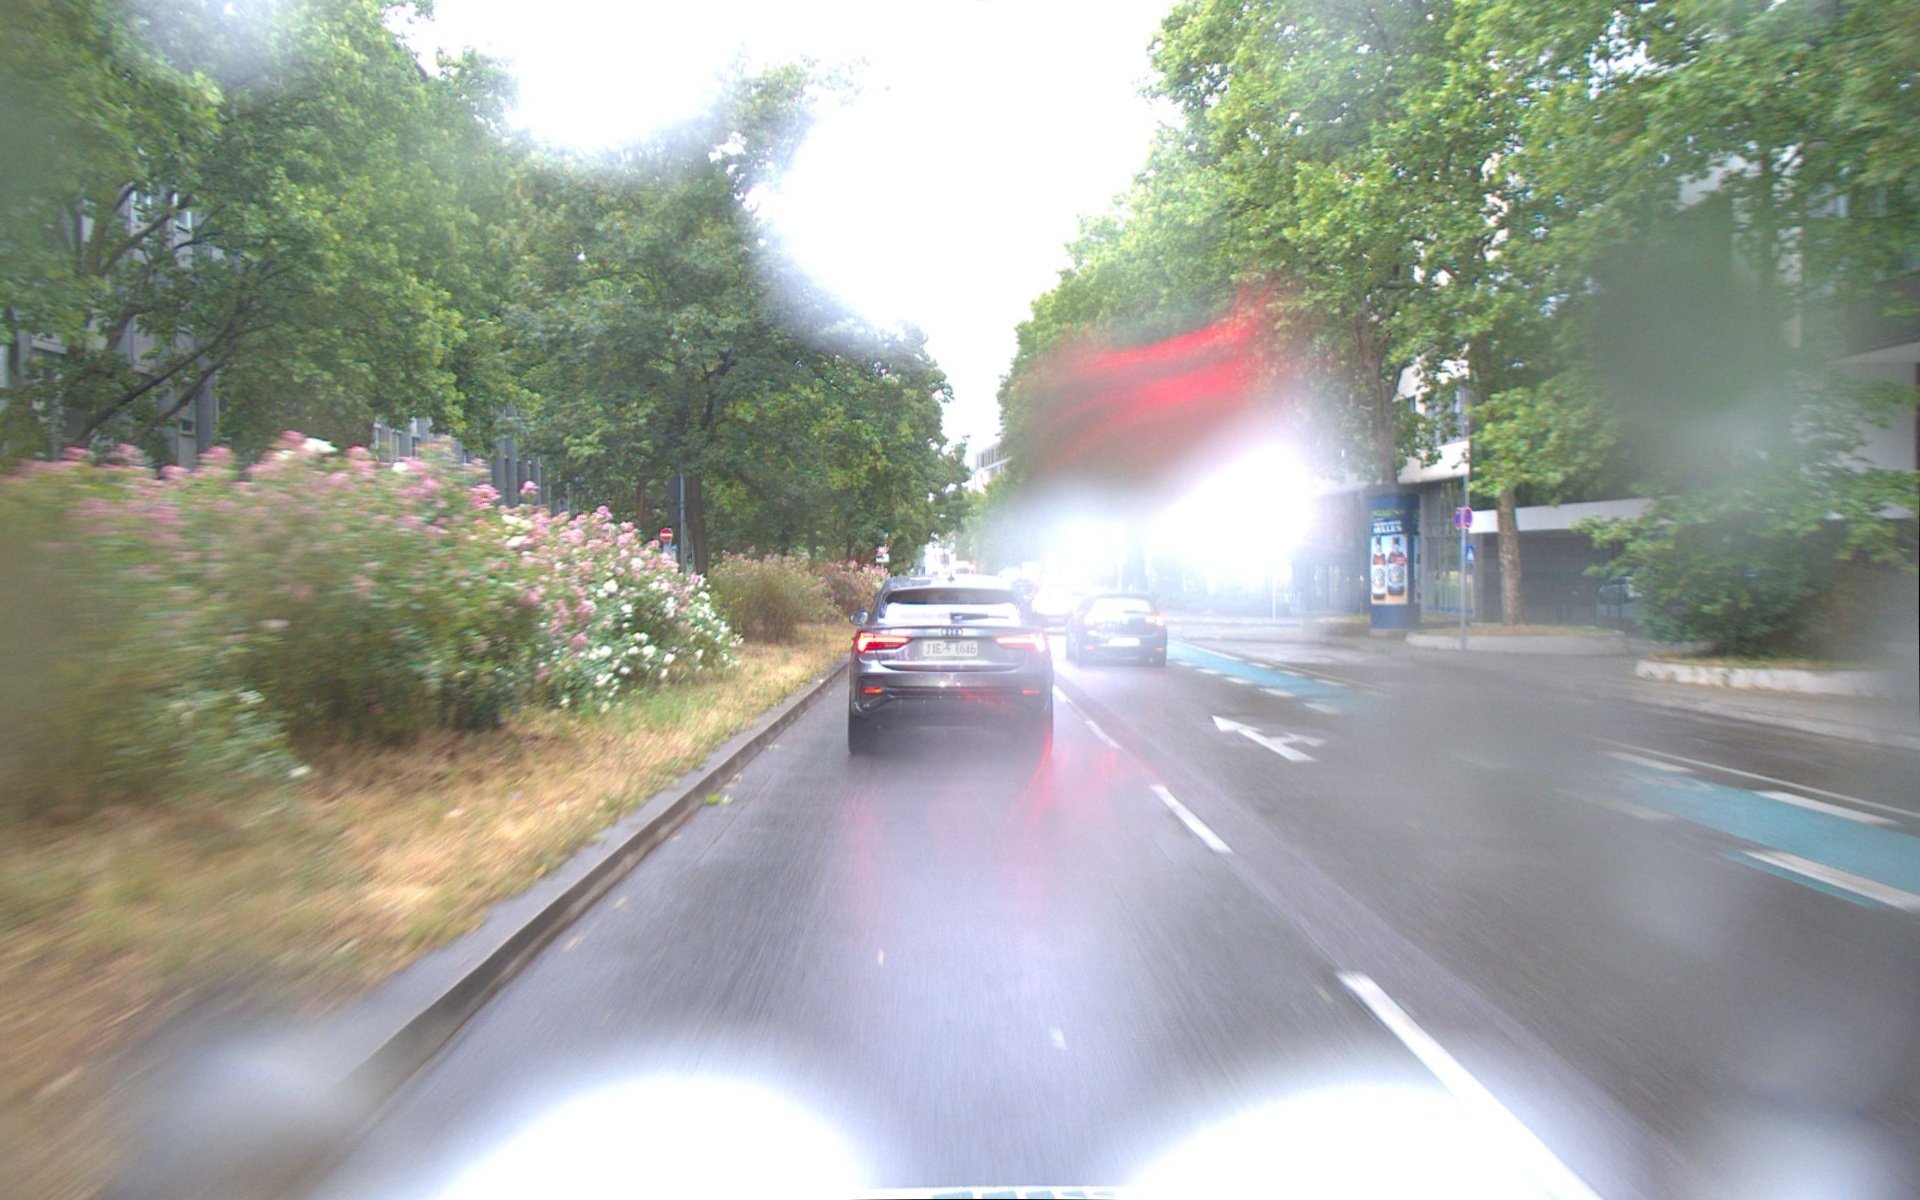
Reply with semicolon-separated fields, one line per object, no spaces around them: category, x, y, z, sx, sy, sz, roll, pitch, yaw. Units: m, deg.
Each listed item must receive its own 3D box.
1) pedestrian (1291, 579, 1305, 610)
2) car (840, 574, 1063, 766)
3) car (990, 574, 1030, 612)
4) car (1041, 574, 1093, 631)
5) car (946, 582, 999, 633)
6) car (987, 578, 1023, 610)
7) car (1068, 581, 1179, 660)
pedestrian;19.735;-0.326;96.599;0.637;1.847;0.655;0;0;-1
car;-0.040;0.539;15.839;1.825;1.559;4.527;0;1;1
car;2.407;-0.349;80.341;1.785;1.780;4.000;0;1;0
car;3.327;0.042;51.674;1.404;1.714;2.979;-1;1;0
car;0.373;0.209;54.693;1.686;1.605;3.961;0;1;-1
car;2.570;-0.368;95.891;1.953;1.780;4.000;0;1;0
car;3.171;0.357;32.724;1.729;1.437;4.000;-1;1;-1
